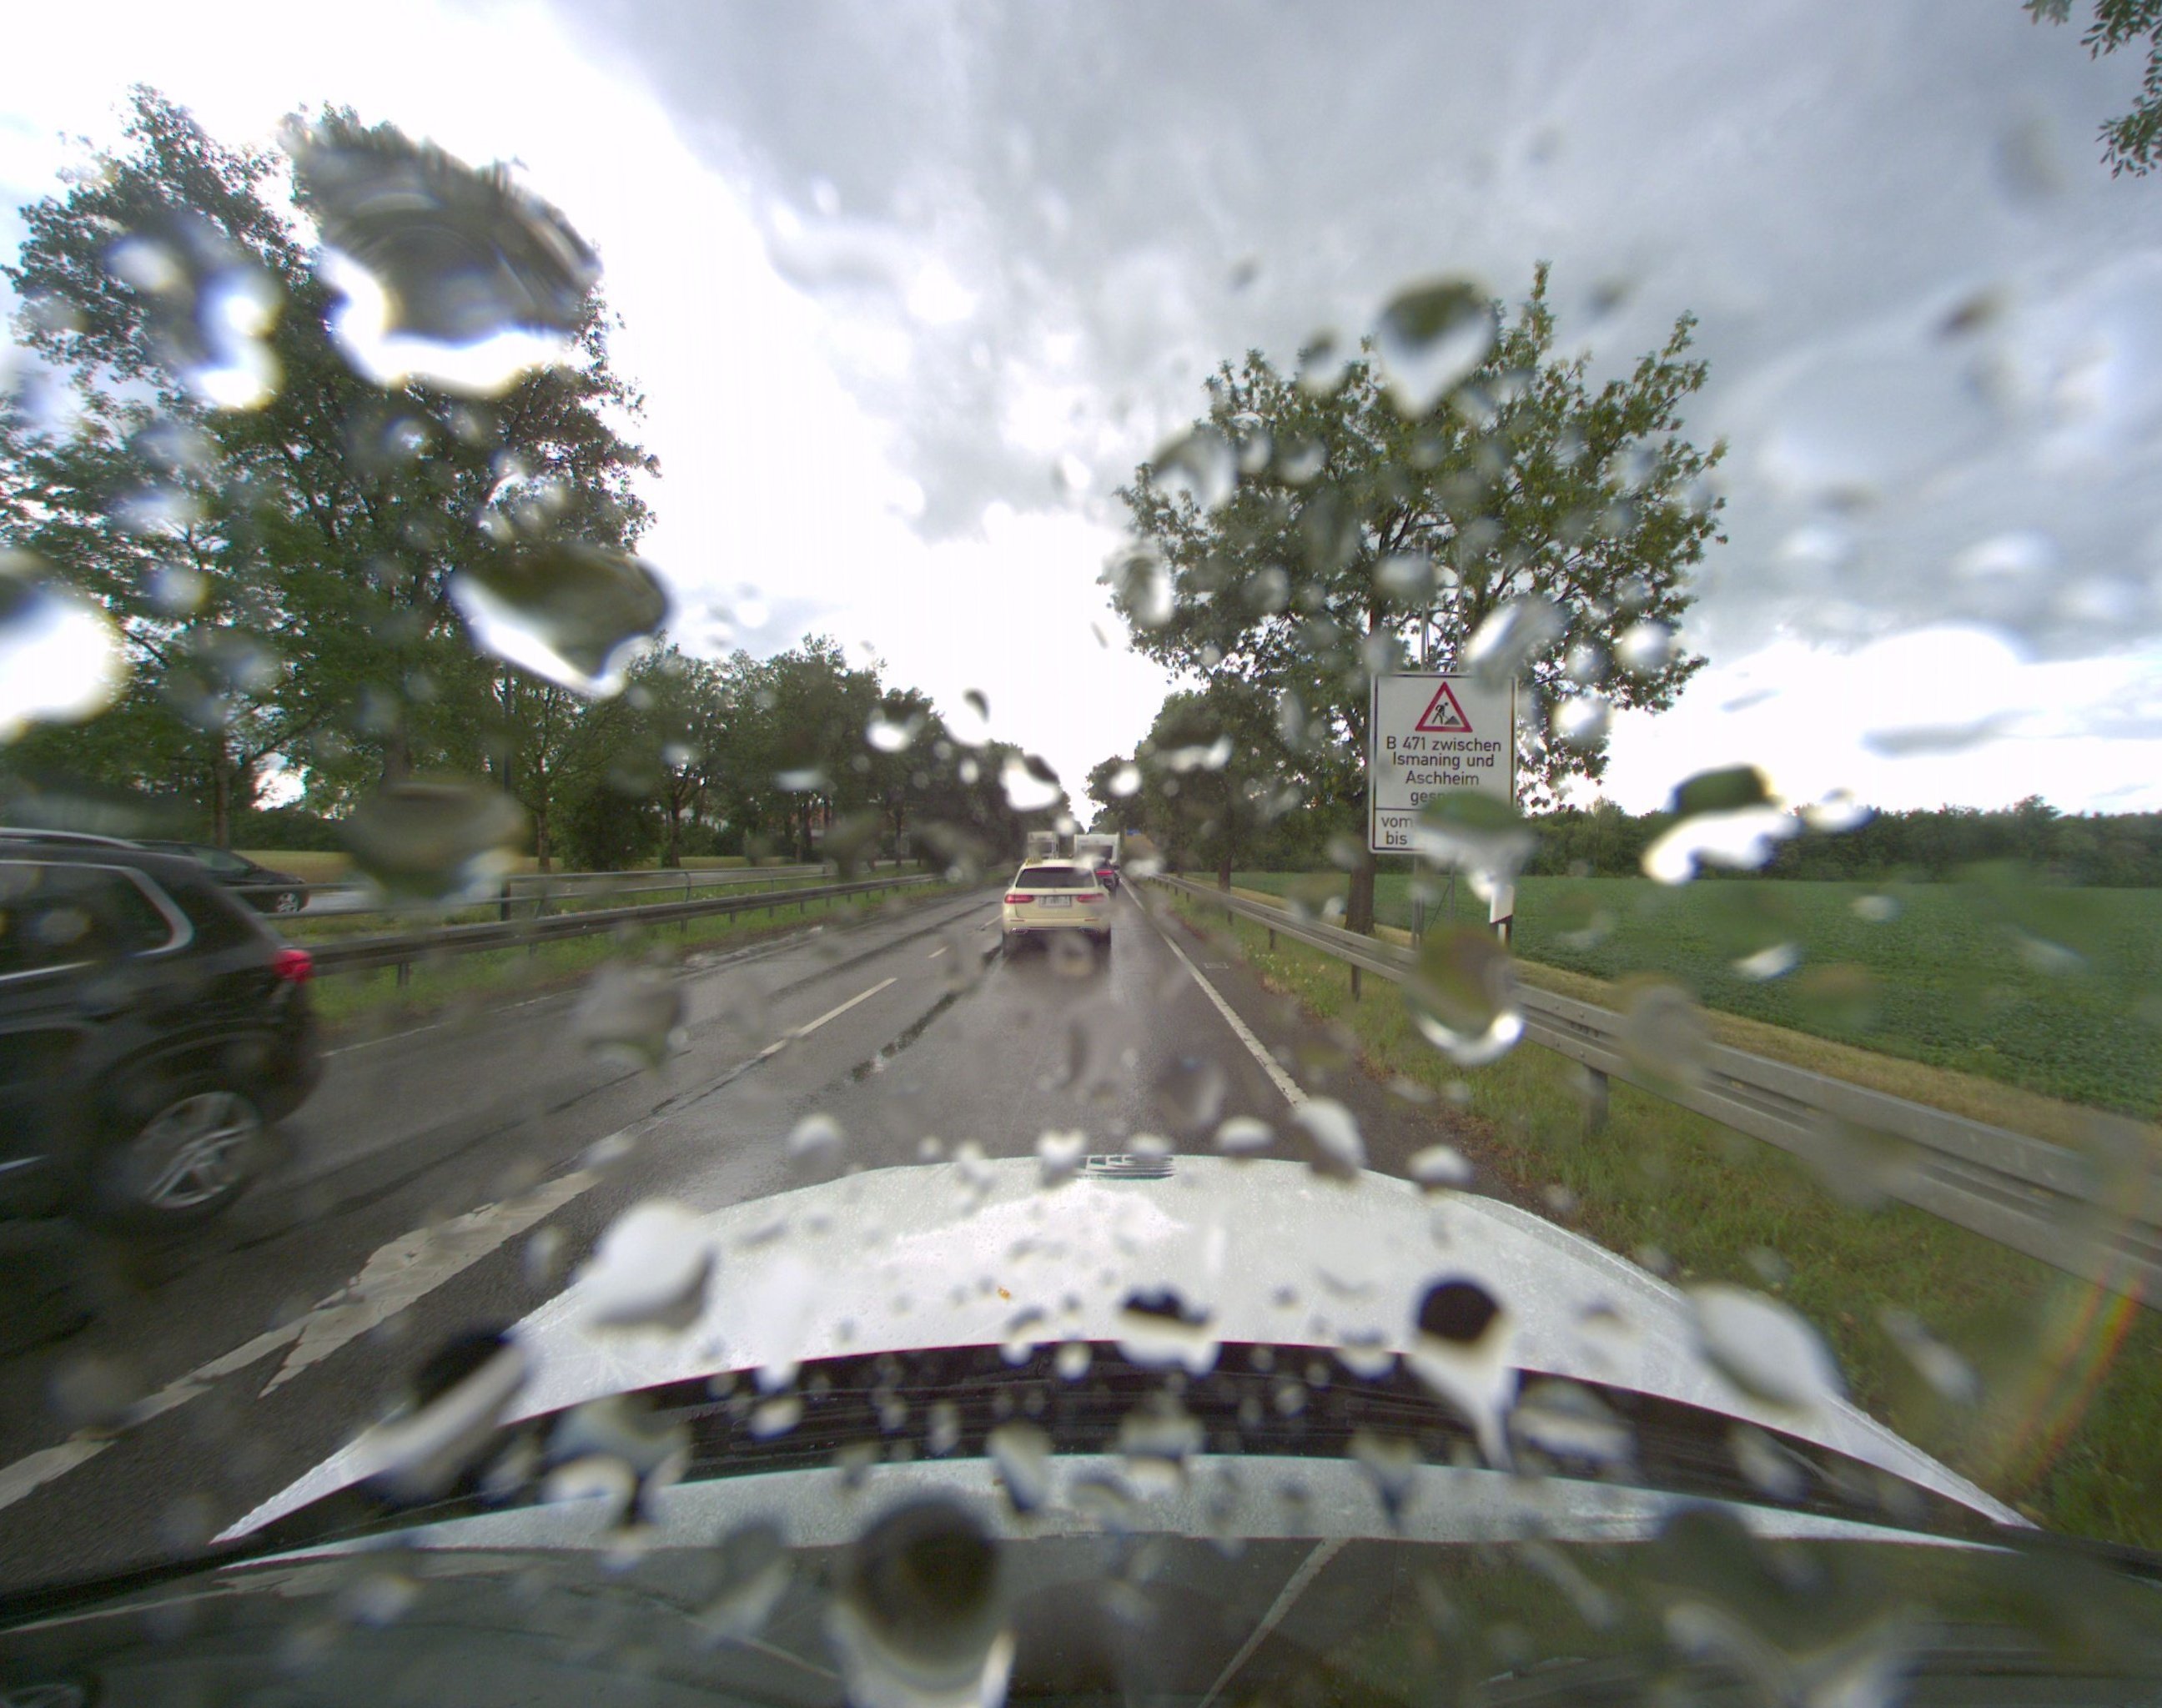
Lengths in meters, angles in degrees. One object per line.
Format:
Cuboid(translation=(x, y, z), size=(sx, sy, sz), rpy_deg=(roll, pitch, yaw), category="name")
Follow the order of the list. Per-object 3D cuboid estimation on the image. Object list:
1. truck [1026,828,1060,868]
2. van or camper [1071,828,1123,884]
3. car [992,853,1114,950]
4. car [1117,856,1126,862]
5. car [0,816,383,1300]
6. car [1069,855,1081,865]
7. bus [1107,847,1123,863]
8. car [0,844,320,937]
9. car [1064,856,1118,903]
Cuboid(translation=(-3.431, -0.546, 75.479), size=(2.568, 3.452, 9.555), rpy_deg=(-1, 0, 0), category="truck")
Cuboid(translation=(0.901, 0.107, 42.301), size=(2.479, 2.685, 5.704), rpy_deg=(0, 0, 2), category="van or camper")
Cuboid(translation=(-0.351, 0.741, 14.597), size=(1.857, 1.476, 4.003), rpy_deg=(-1, 0, 2), category="car")
Cuboid(translation=(7.149, 0.876, 142.668), size=(1.545, 1.118, 4.002), rpy_deg=(0, -1, 2), category="car")
Cuboid(translation=(-4.509, 0.695, 2.184), size=(1.758, 1.619, 4.000), rpy_deg=(-1, 0, 1), category="car")
Cuboid(translation=(-0.958, 0.905, 124.130), size=(1.708, 1.451, 4.111), rpy_deg=(0, 0, 1), category="car")
Cuboid(translation=(4.555, 0.114, 110.210), size=(1.986, 2.013, 4.001), rpy_deg=(-1, 0, 1), category="bus")
Cuboid(translation=(-15.461, 0.536, 13.936), size=(1.280, 1.331, 3.894), rpy_deg=(2, 0, -3), category="car")
Cuboid(translation=(0.408, 0.798, 27.336), size=(1.657, 1.430, 4.003), rpy_deg=(-1, 0, 2), category="car")
